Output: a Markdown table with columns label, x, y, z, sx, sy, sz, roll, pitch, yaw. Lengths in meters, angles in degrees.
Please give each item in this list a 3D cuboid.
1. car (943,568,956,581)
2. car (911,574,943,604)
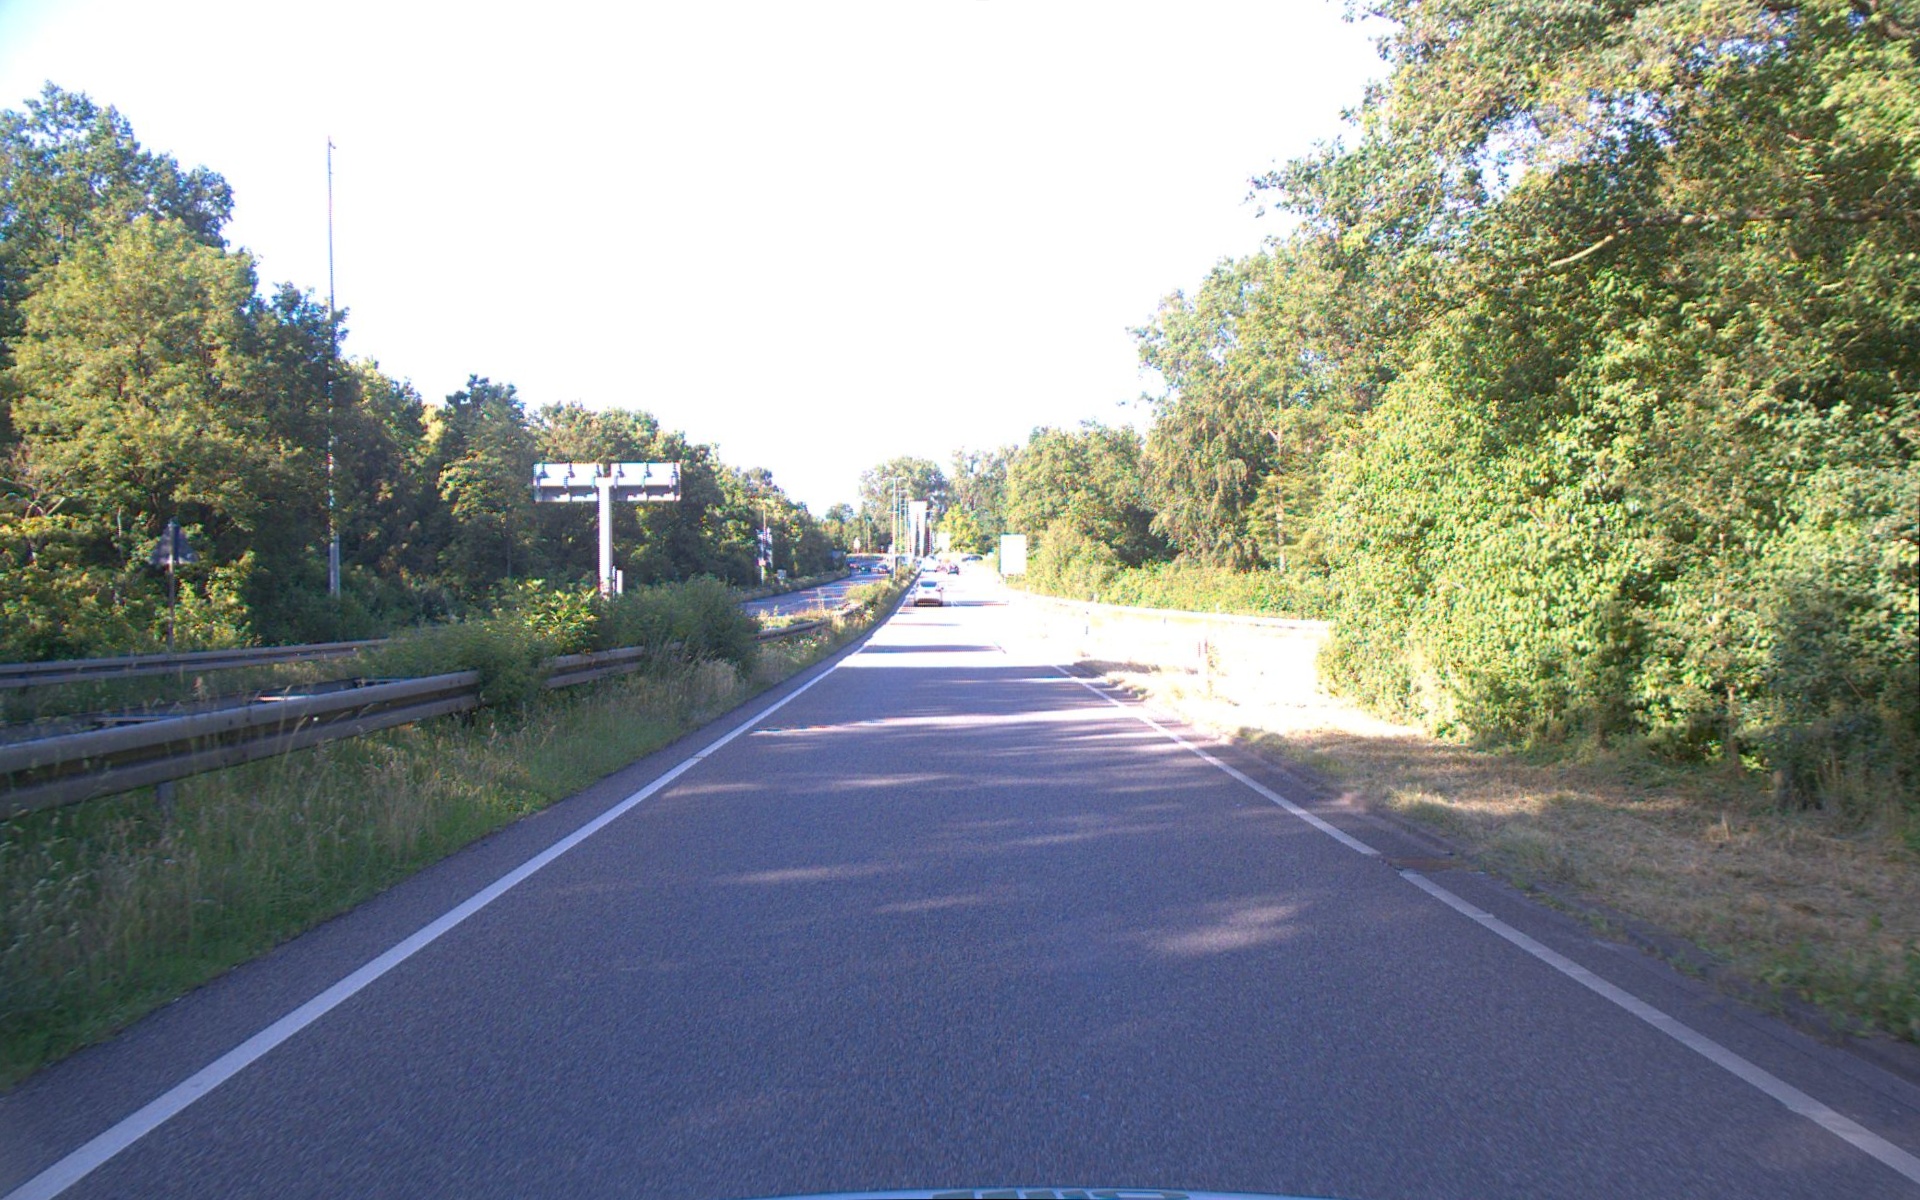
| label | x | y | z | sx | sy | sz | roll | pitch | yaw |
| --- | --- | --- | --- | --- | --- | --- | --- | --- | --- |
| car | -1.586 | -3.866 | 249.020 | 1.761 | 1.861 | 3.417 | 2 | 0 | 1 |
| car | -2.164 | -0.706 | 107.820 | 1.847 | 1.847 | 3.997 | 2 | 0 | -4 |
